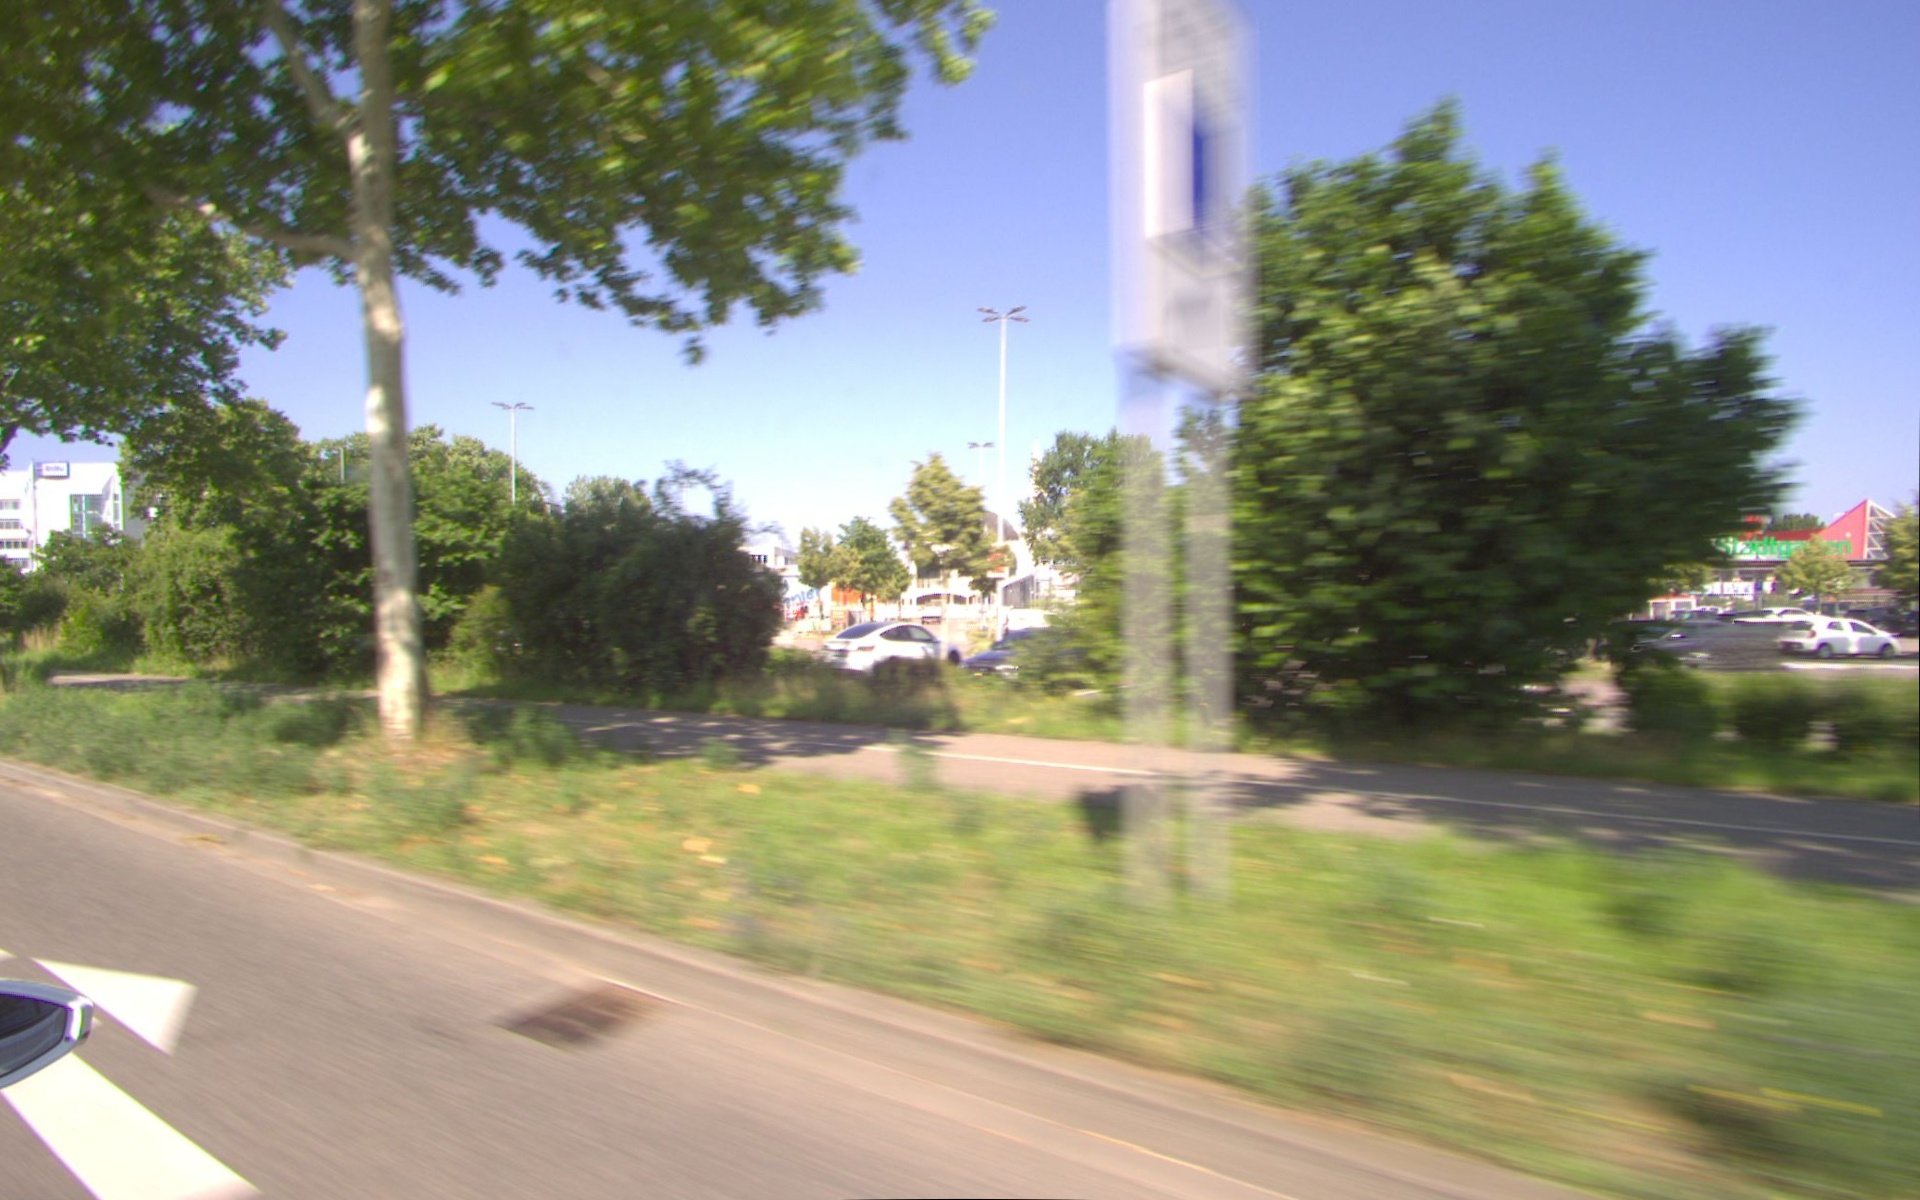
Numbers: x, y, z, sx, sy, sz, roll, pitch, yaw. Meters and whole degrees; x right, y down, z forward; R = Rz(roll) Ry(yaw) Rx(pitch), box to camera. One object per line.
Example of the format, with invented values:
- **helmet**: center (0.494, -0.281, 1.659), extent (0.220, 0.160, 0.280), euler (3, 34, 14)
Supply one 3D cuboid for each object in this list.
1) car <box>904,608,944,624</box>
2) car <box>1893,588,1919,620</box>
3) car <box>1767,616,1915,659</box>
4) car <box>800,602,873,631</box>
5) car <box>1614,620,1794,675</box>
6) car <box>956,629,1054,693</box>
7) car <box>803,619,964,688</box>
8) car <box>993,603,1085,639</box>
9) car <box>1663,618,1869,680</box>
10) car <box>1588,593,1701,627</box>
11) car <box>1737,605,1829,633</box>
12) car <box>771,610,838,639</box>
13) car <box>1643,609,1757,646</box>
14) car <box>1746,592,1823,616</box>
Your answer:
- **car**: center (-3.571, 1.593, 99.578), extent (3.922, 1.572, 1.739), euler (0, -2, 1)
- **car**: center (56.480, 0.266, 57.279), extent (4.353, 1.747, 1.840), euler (1, -1, 3)
- **car**: center (32.617, 1.391, 37.140), extent (3.922, 1.572, 1.739), euler (0, -2, 0)
- **car**: center (-6.958, 0.954, 56.603), extent (3.922, 1.589, 1.684), euler (0, -2, 0)
- **car**: center (21.913, 1.408, 29.624), extent (3.922, 1.572, 1.738), euler (0, -2, 6)
- **car**: center (1.125, 1.381, 23.470), extent (1.653, 1.367, 3.516), euler (-1, -2, 14)
- **car**: center (-1.928, 1.370, 26.599), extent (2.067, 1.656, 4.479), euler (-1, -2, 31)
- **car**: center (3.713, 1.014, 47.663), extent (4.259, 1.683, 1.803), euler (0, -2, 1)
- **car**: center (21.312, 1.300, 26.601), extent (3.922, 1.572, 1.738), euler (0, -2, 6)
- **car**: center (39.028, 0.574, 57.187), extent (5.090, 1.747, 1.840), euler (1, -1, 3)
- **car**: center (49.335, 1.142, 60.068), extent (3.922, 1.672, 2.001), euler (0, -2, -2)
- **car**: center (-9.784, 1.561, 63.100), extent (3.922, 1.839, 2.001), euler (0, -2, 0)
- **car**: center (37.635, 1.427, 51.009), extent (4.353, 1.747, 1.840), euler (1, -1, 3)
- **car**: center (61.002, 0.309, 74.135), extent (3.922, 1.672, 2.001), euler (0, -2, 6)
